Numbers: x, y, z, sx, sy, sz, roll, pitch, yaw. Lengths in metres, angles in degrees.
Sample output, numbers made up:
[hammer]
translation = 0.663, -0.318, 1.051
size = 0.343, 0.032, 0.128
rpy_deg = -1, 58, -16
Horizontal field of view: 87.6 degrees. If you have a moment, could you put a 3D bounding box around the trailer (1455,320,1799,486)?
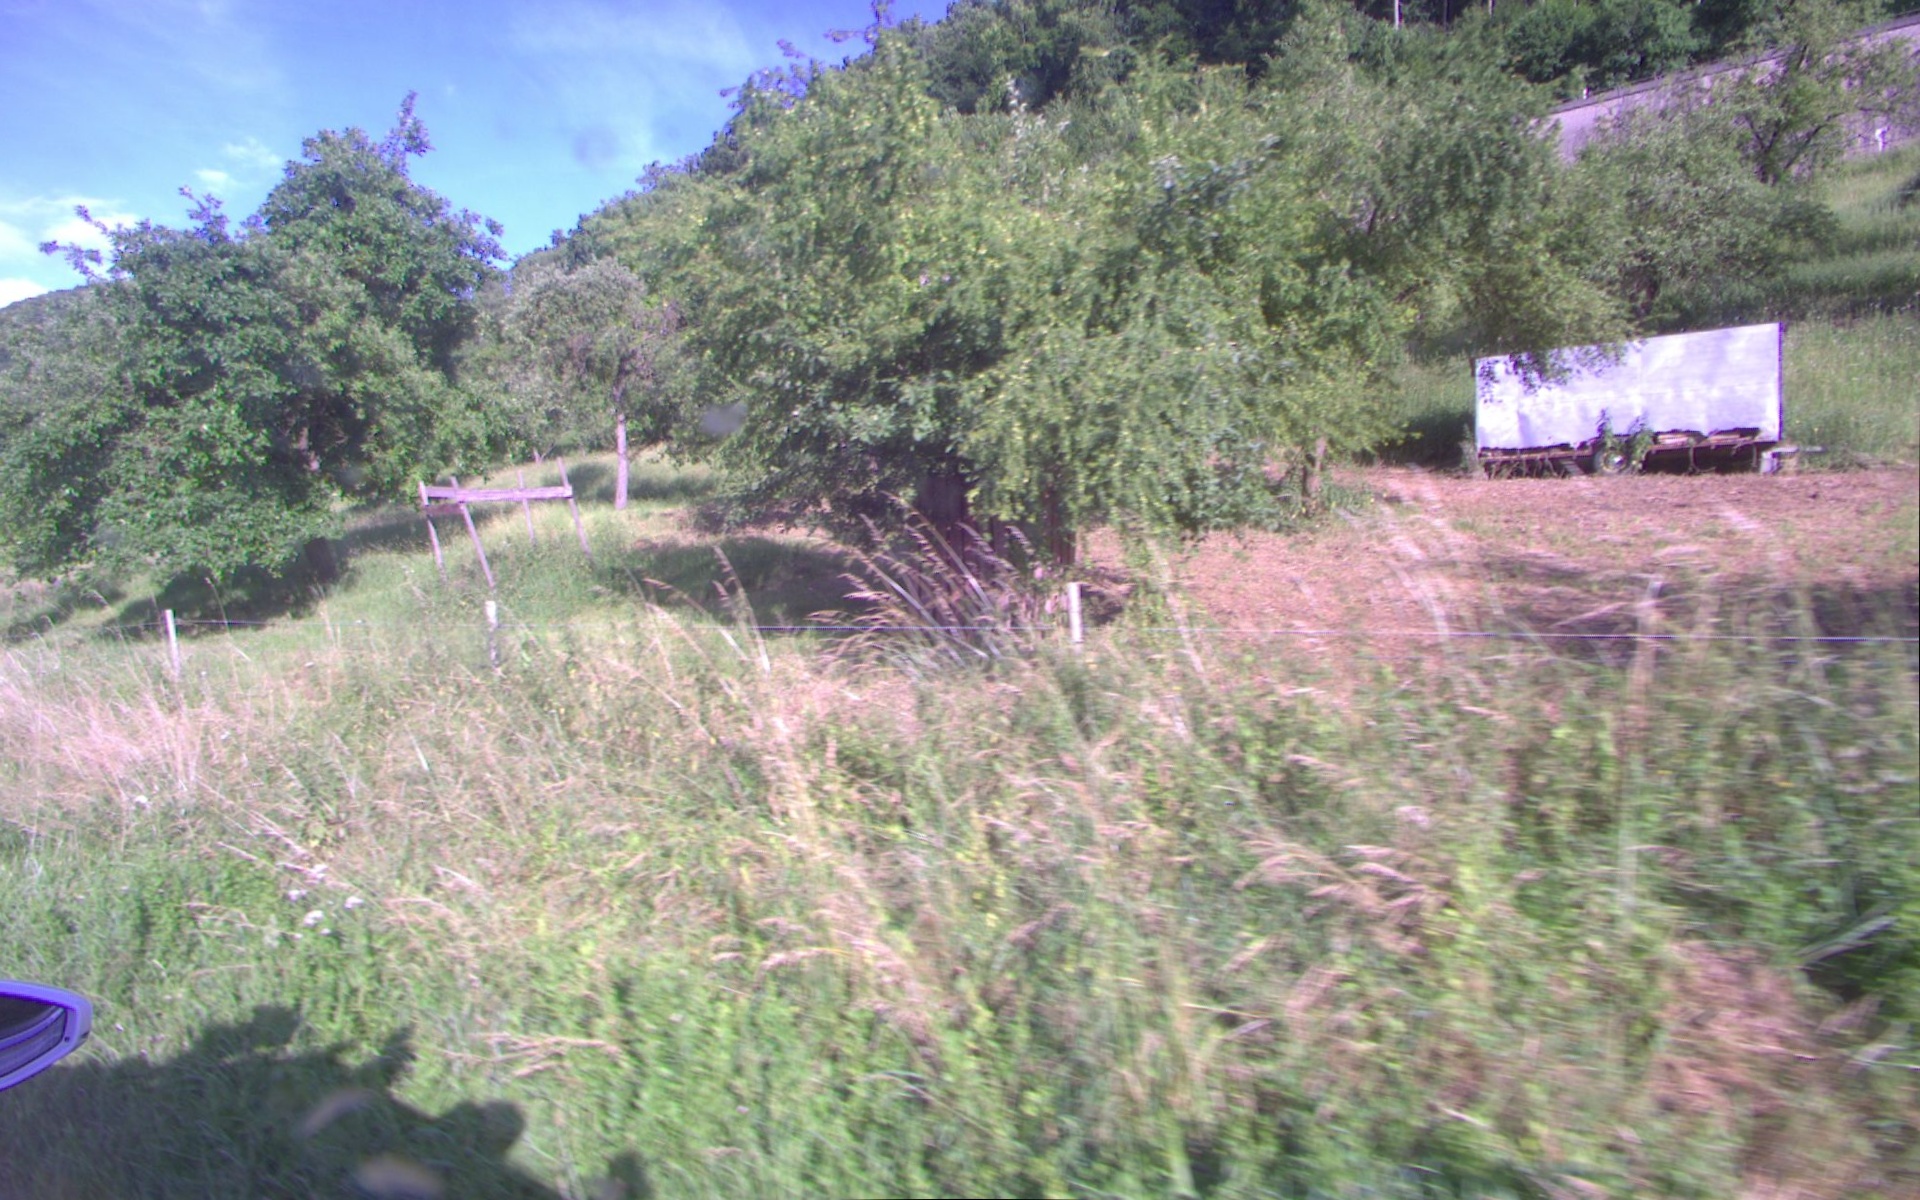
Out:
[trailer]
translation = 12.556, -3.623, 19.381
size = 5.165, 2.595, 2.149
rpy_deg = 3, 4, 29
